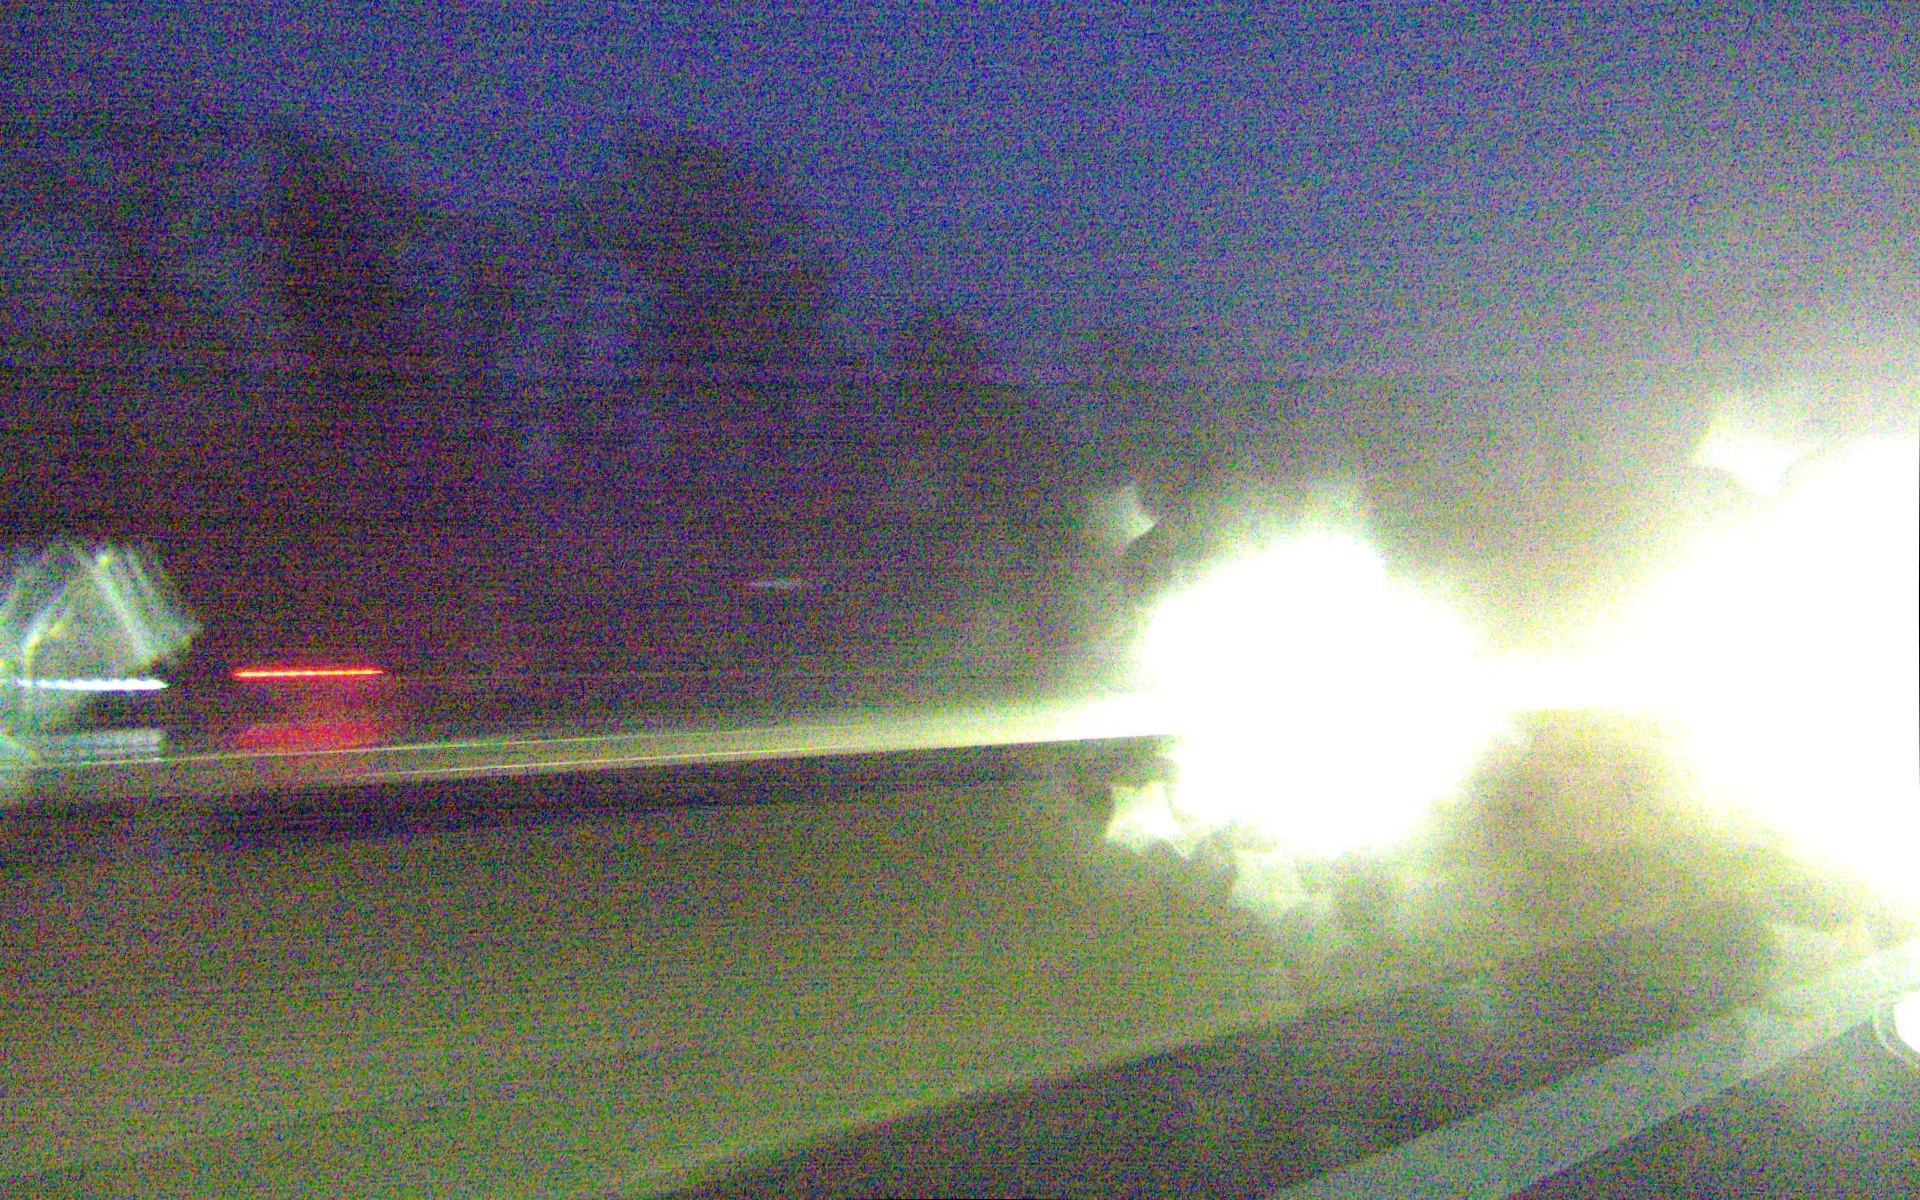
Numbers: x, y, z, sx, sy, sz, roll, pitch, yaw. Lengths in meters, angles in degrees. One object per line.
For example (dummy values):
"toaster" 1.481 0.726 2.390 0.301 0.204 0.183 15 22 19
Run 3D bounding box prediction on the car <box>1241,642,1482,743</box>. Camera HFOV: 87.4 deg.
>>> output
"car" 7.585 1.660 18.863 4.461 1.602 1.852 2 0 -30

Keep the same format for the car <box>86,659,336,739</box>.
"car" -16.542 2.130 22.482 4.309 1.491 1.851 2 0 -34

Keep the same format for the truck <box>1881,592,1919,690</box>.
"truck" 48.004 1.988 47.816 11.302 4.383 2.917 2 -3 -30
